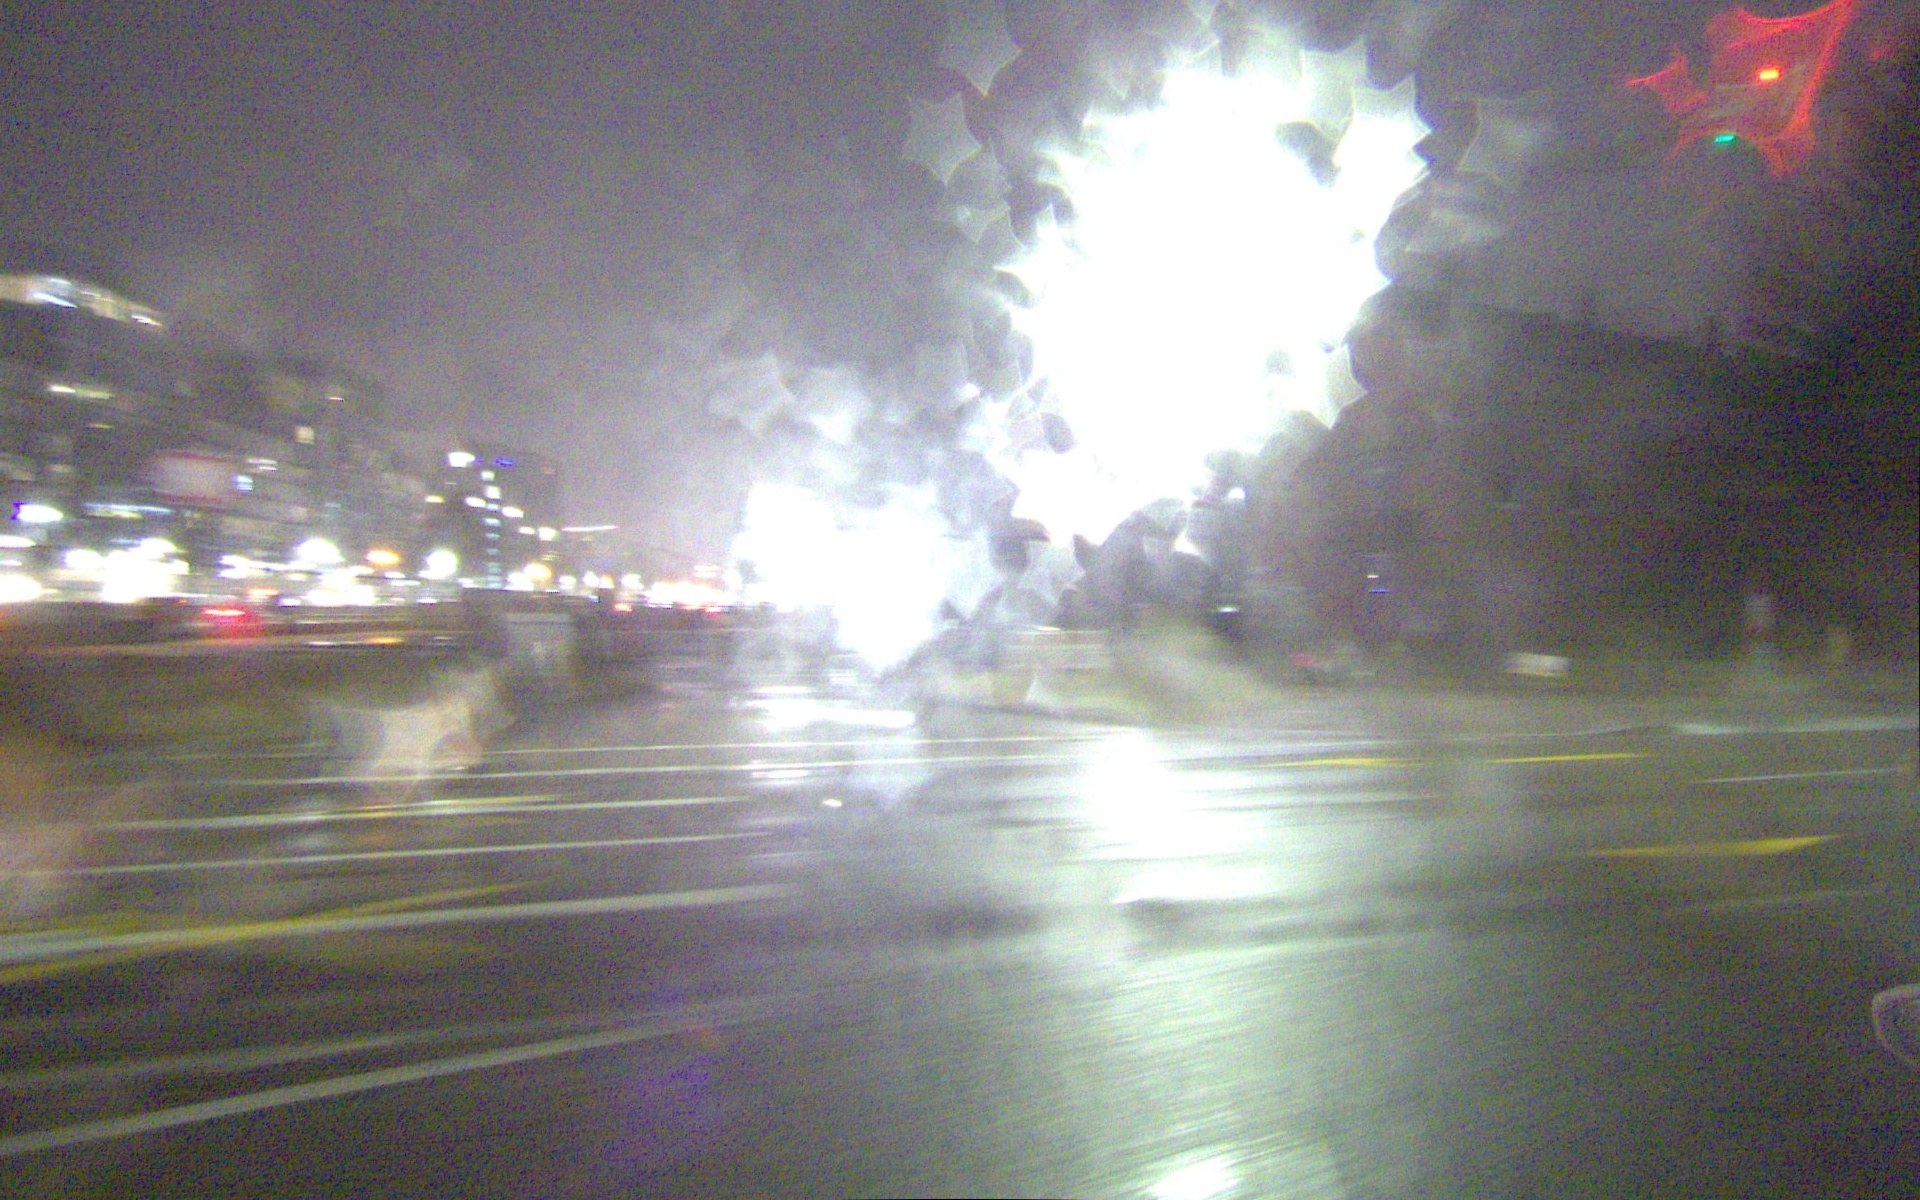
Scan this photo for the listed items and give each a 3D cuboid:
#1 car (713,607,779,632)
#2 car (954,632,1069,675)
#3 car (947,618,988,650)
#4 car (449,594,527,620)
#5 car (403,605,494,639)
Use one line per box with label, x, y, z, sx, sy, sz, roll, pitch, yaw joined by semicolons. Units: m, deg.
car;-15.004;1.373;70.571;4.350;1.643;1.997;2;-1;-8
car;1.699;1.761;33.577;3.745;1.353;1.537;0;-1;0
car;0.427;2.088;61.478;1.963;1.862;3.799;1;-2;-8
car;-31.472;0.465;67.063;4.313;1.643;1.998;0;0;-6
car;-30.865;1.360;60.753;4.234;1.758;2.331;3;-3;-7
